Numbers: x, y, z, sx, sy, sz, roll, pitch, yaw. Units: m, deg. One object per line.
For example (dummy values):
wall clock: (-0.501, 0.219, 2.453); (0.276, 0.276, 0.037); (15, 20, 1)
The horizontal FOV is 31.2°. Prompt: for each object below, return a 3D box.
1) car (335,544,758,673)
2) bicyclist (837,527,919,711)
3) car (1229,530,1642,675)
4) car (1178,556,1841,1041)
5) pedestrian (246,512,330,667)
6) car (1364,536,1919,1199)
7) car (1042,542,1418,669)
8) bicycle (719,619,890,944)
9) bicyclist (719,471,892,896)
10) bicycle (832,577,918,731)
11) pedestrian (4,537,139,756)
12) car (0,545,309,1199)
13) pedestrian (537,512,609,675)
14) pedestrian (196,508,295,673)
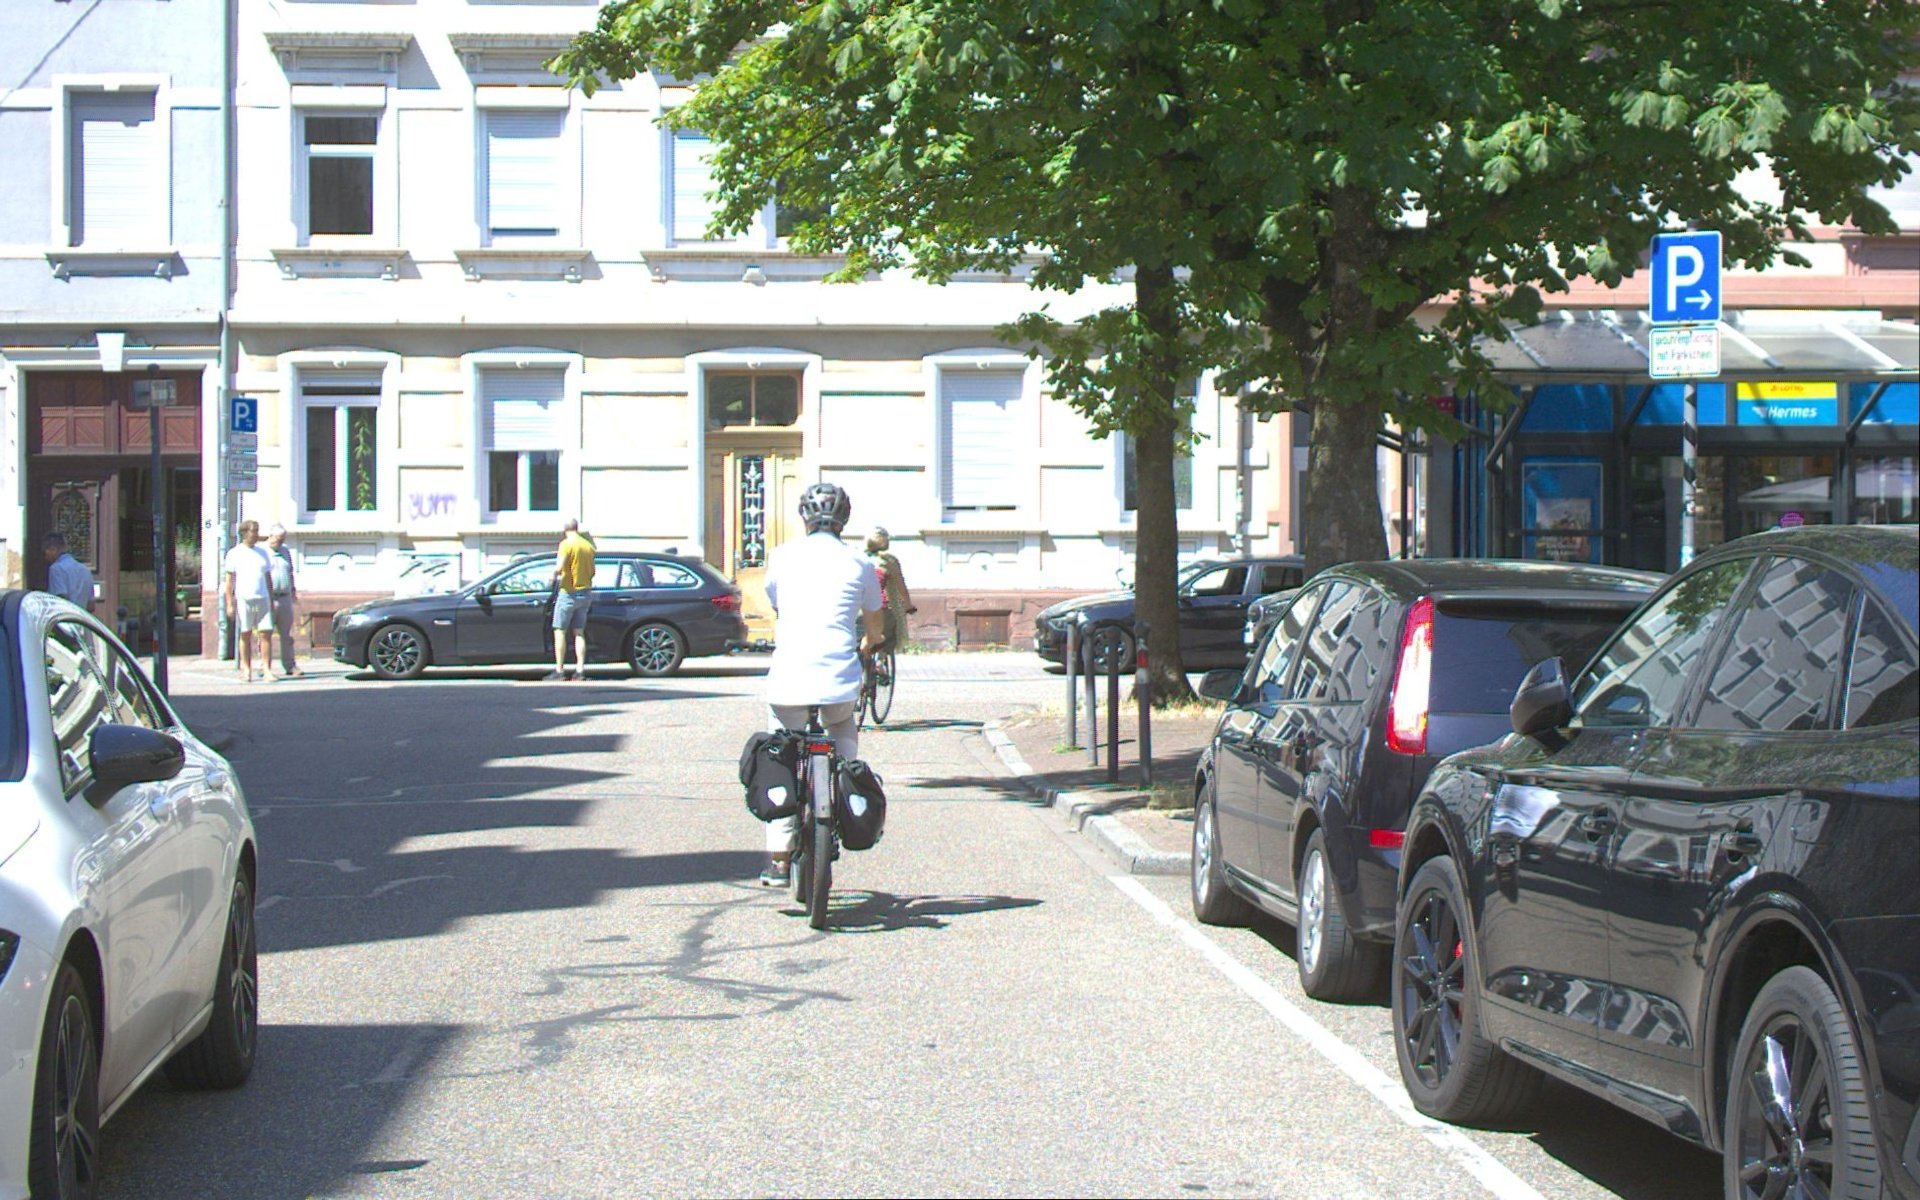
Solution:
car: (-4.832, 0.083, 40.739); (4.858, 1.432, 2.000); (-1, 1, -3)
bicyclist: (-0.695, 0.150, 29.013); (0.670, 1.528, 0.609); (-1, 1, -2)
car: (5.191, 0.011, 37.860); (4.223, 1.514, 1.807); (-1, 1, -3)
car: (1.962, 0.637, 13.509); (1.663, 1.535, 4.178); (2, 1, -3)
pedestrian: (-7.956, -0.132, 40.735); (0.901, 1.808, 0.960); (-1, 1, -8)
car: (2.318, 0.682, 7.985); (1.735, 1.591, 4.349); (2, 1, -7)
car: (3.205, 0.052, 41.315); (4.293, 1.365, 1.807); (-1, 3, -3)
bicycle: (-0.679, 0.732, 14.914); (0.651, 1.224, 2.442); (1, 1, -3)
bicyclist: (-0.658, 0.344, 14.644); (0.670, 1.754, 0.609); (2, 1, -2)
bicycle: (-0.728, 0.429, 28.954); (0.651, 1.205, 2.442); (1, 1, -2)
pedestrian: (-6.903, 0.351, 26.744); (0.857, 1.666, 0.774); (-1, 1, -3)
car: (-2.771, 0.635, 8.138); (1.841, 1.456, 4.363); (-2, 1, -4)
pedestrian: (-4.446, -0.078, 39.497); (0.724, 1.847, 0.685); (-1, 1, -13)
pedestrian: (-8.275, -0.111, 39.855); (0.850, 1.882, 0.935); (0, 1, 7)
